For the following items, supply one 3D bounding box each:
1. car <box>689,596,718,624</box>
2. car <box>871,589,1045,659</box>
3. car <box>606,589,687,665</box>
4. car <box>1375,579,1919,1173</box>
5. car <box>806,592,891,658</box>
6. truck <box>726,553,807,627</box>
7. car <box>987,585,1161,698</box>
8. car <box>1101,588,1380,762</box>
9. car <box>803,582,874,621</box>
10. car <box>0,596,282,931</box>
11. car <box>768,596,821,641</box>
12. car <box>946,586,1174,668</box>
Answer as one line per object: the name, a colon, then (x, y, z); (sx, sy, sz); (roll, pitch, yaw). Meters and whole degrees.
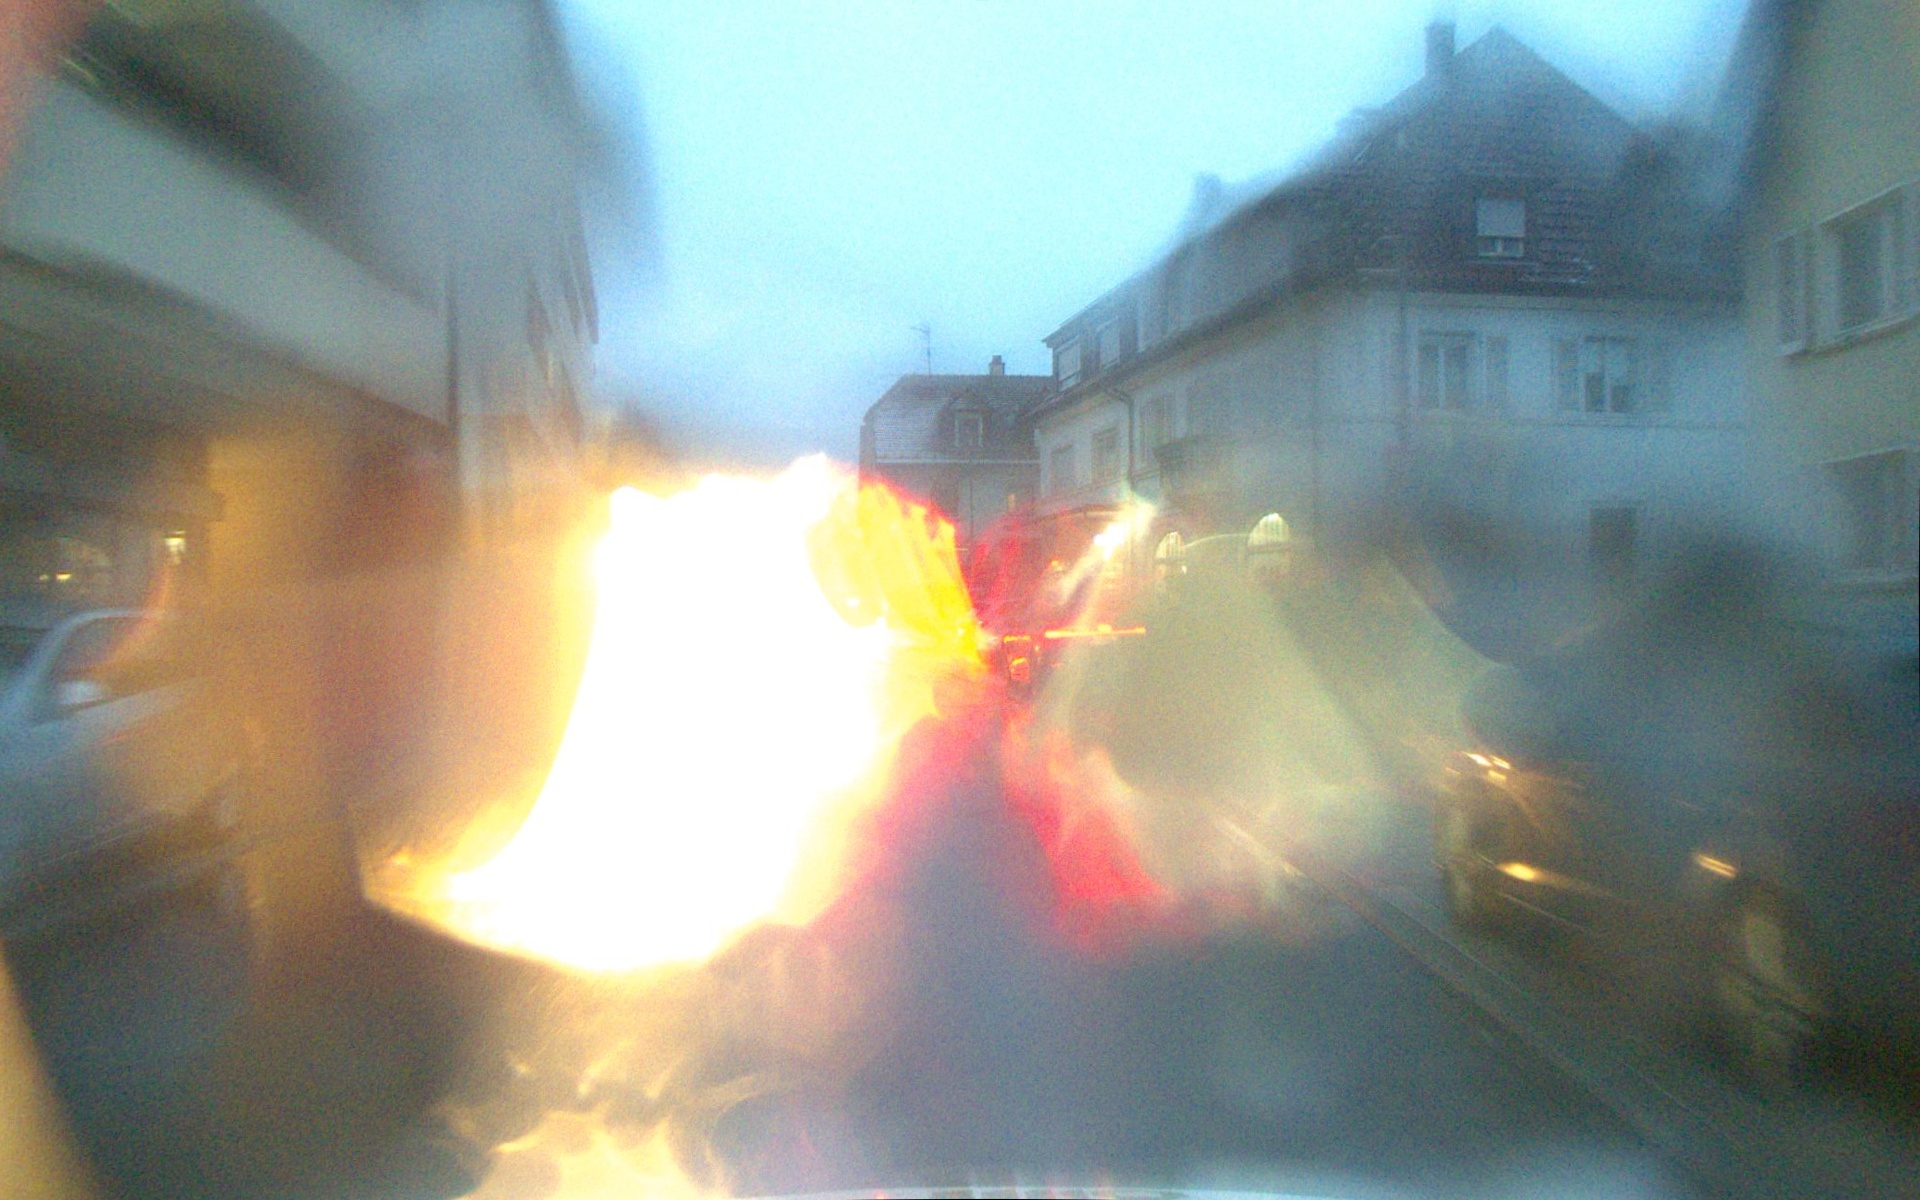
car: (-15.002, 0.575, 96.702); (1.607, 1.562, 3.399); (0, 0, -9)
car: (-0.076, 0.644, 46.302); (4.526, 1.807, 1.938); (-1, 0, -14)
car: (-7.345, 0.593, 39.002); (1.761, 1.671, 3.804); (1, 0, -9)
car: (3.182, 0.680, 6.334); (1.786, 1.448, 4.605); (-3, 0, -3)
car: (-2.704, 0.581, 39.581); (1.608, 1.507, 3.370); (1, 0, -11)
truck: (-8.940, -0.430, 75.523); (2.962, 3.183, 7.977); (1, 0, -12)
car: (1.679, 0.574, 25.984); (1.847, 1.574, 4.664); (-1, 0, -7)
car: (2.704, 0.665, 17.033); (1.759, 1.486, 4.526); (-2, 0, -4)
car: (-6.983, 0.073, 95.512); (4.015, 2.200, 1.912); (0, 0, -3)
car: (-5.200, 0.737, 8.640); (1.642, 1.472, 4.425); (1, 0, -3)
car: (-5.832, 0.626, 58.019); (1.608, 1.507, 3.264); (1, 0, -9)
car: (2.044, 0.534, 34.295); (4.387, 1.499, 1.893); (-2, 1, -11)
